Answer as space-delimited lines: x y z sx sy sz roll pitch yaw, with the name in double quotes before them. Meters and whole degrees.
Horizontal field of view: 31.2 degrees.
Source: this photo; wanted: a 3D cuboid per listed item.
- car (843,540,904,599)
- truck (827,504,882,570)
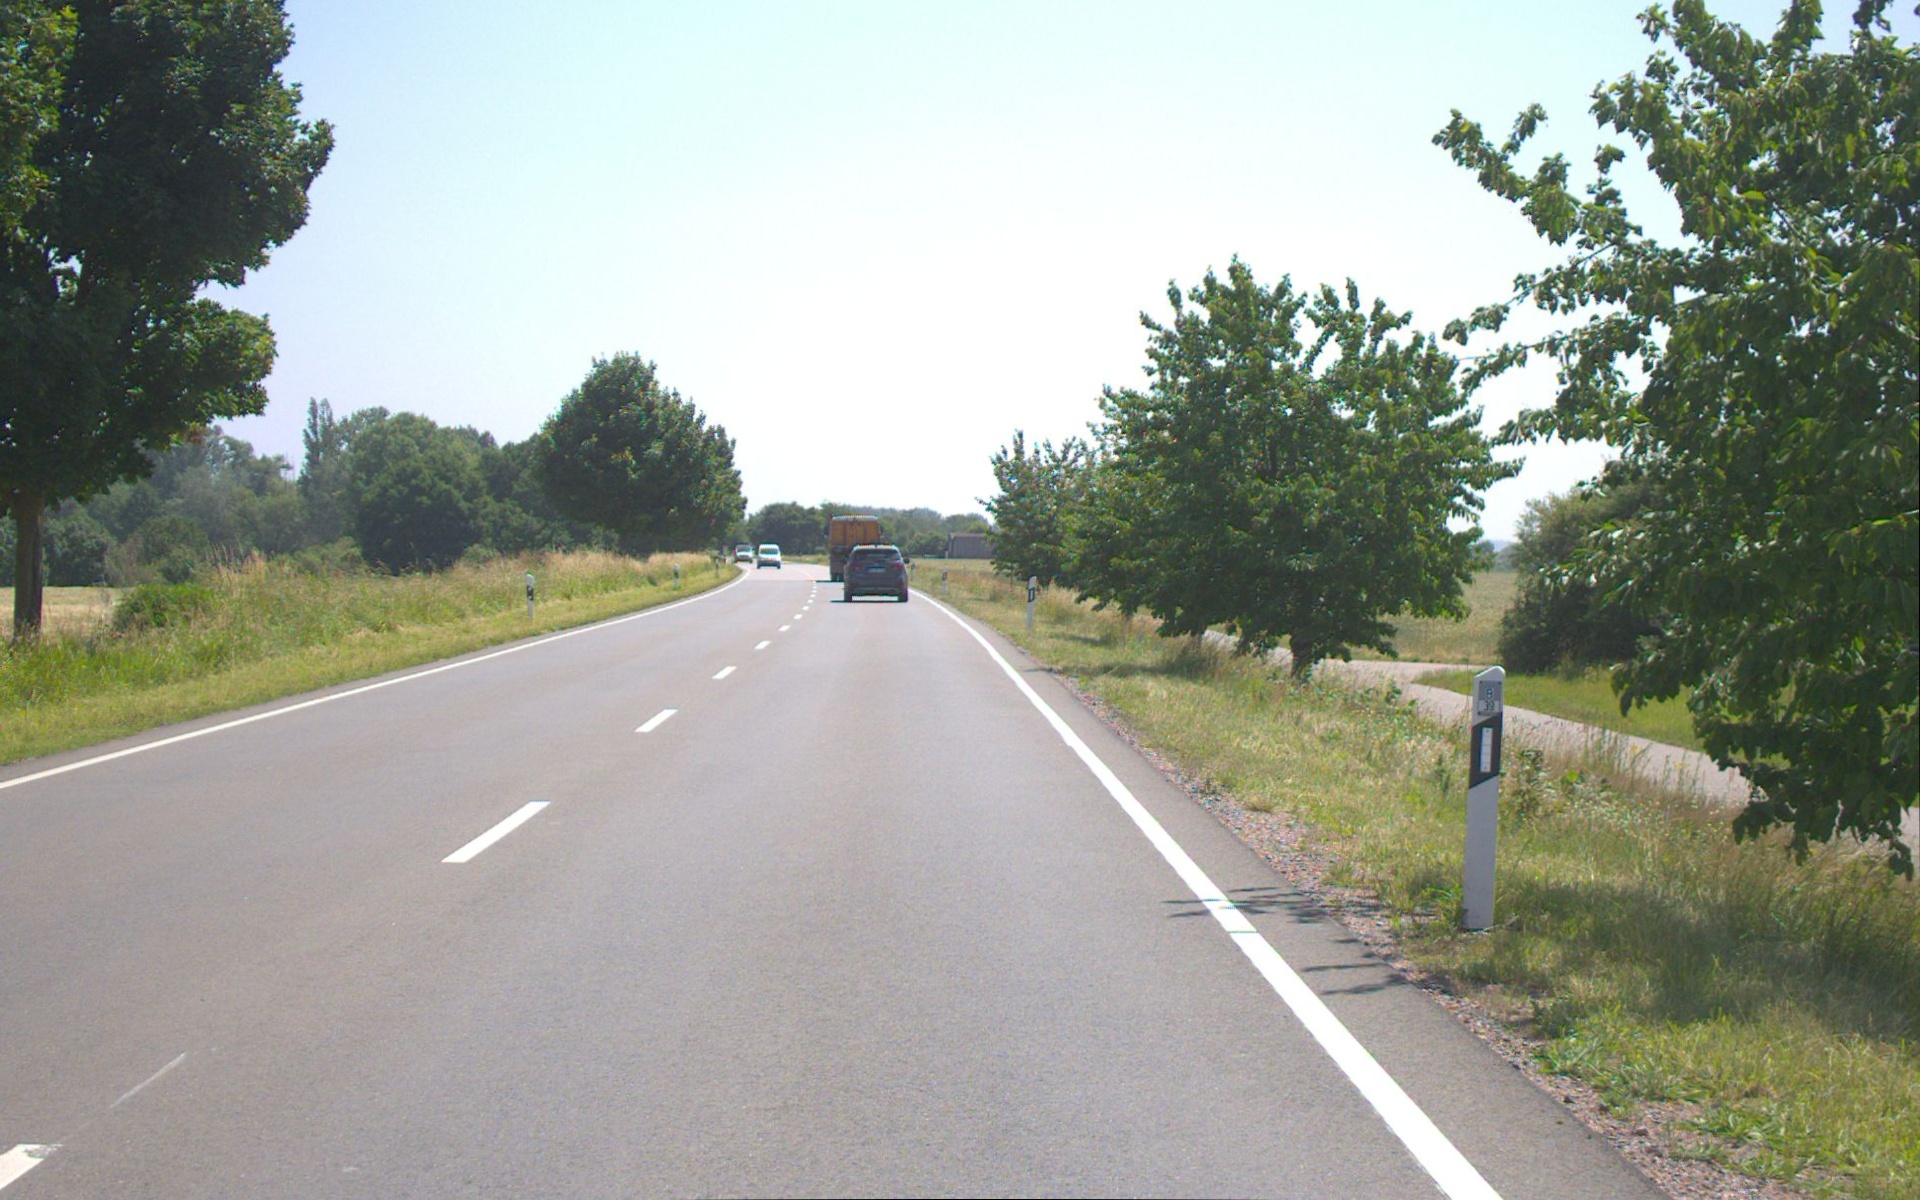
"car" -2.540 -0.905 101.734 1.714 1.688 3.989 1 0 -1
"truck" -5.149 -3.021 166.884 2.370 3.129 8.748 1 1 -4
